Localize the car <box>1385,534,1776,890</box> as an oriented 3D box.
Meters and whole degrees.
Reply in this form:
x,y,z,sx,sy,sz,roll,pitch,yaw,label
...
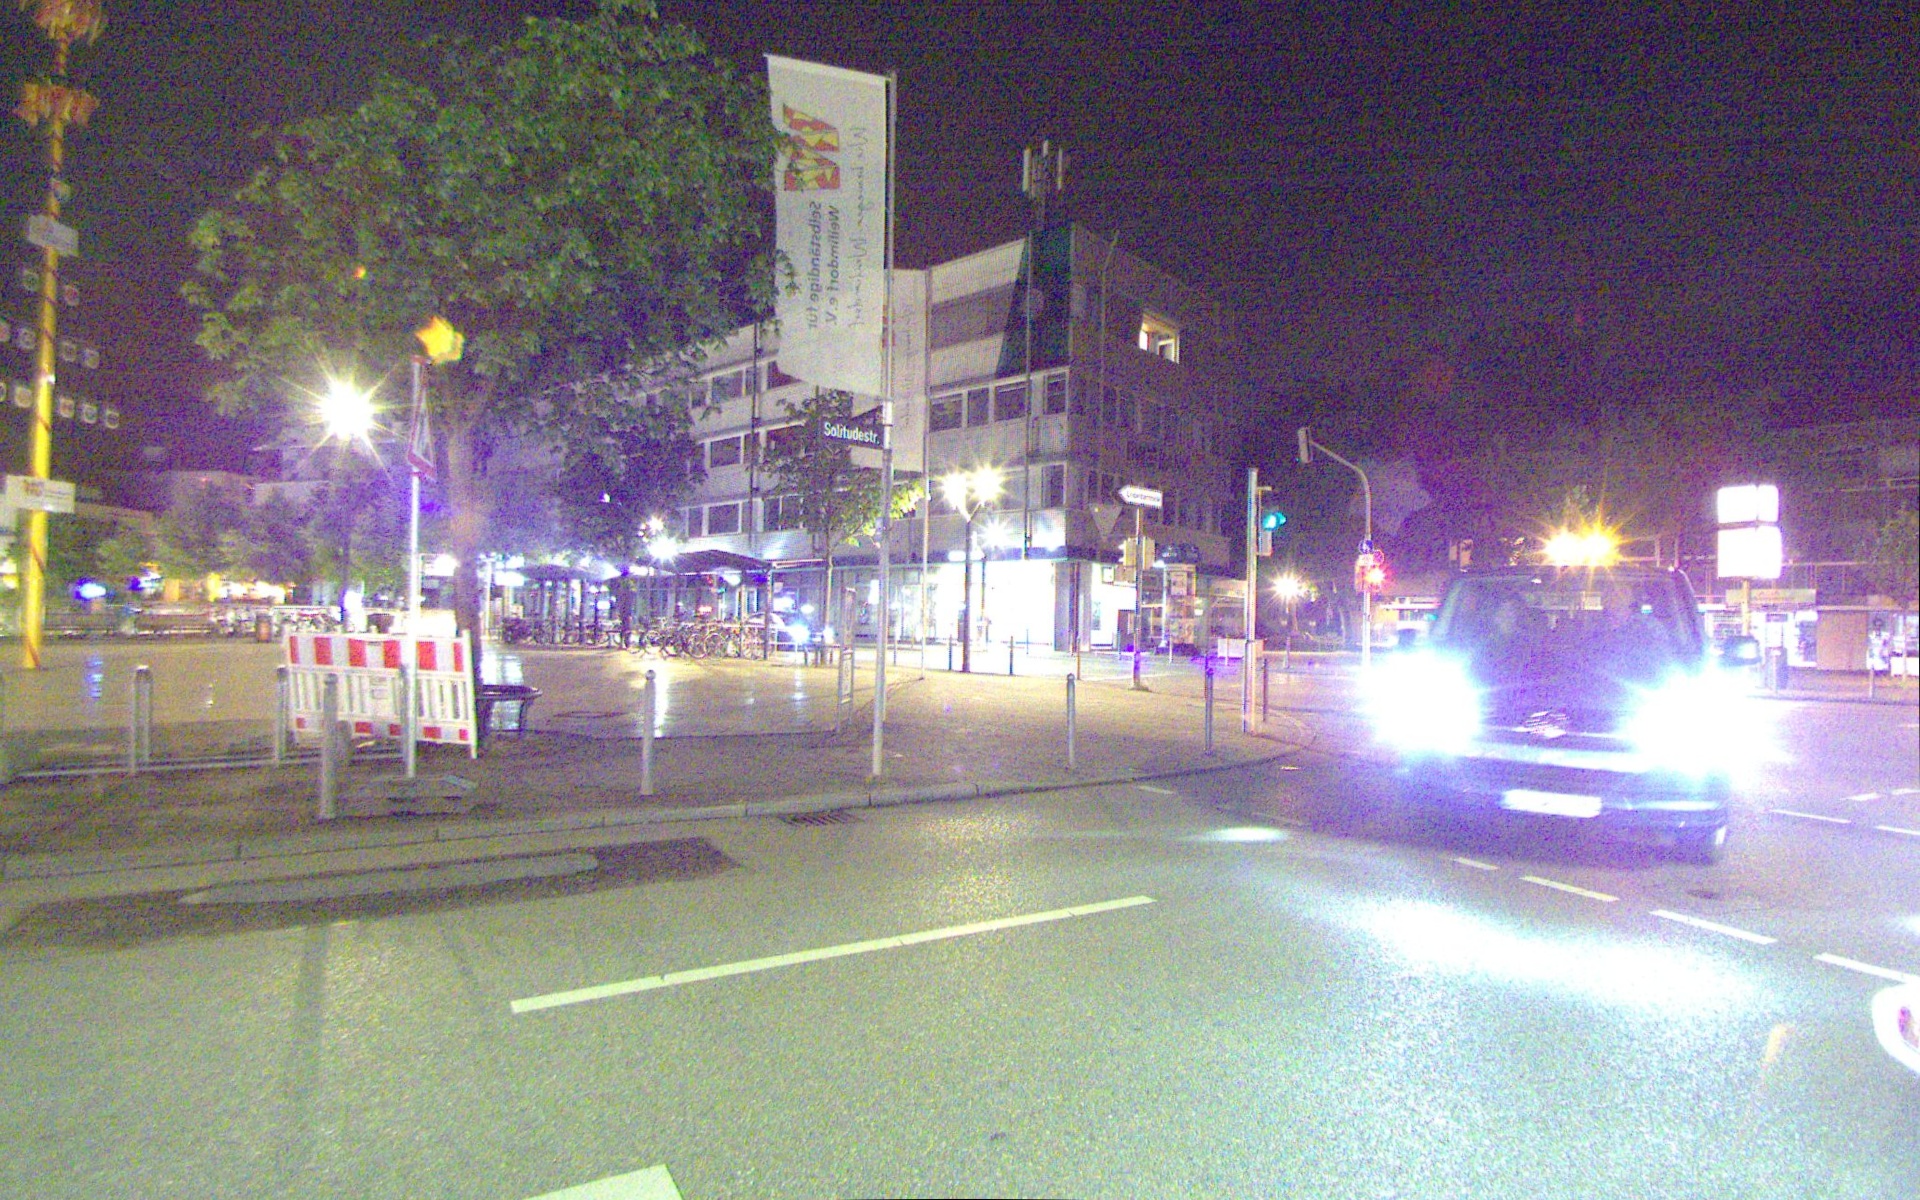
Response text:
x,y,z,sx,sy,sz,roll,pitch,yaw,label
4.823,0.667,7.963,1.939,1.896,4.901,0,-2,32,car

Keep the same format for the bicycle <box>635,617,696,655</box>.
x,y,z,sx,sy,sz,roll,pitch,yaw,label
-7.858,0.955,26.820,0.473,0.970,1.525,2,0,43,bicycle

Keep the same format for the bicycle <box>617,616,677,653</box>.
x,y,z,sx,sy,sz,roll,pitch,yaw,label
-8.538,0.937,27.420,0.473,0.970,1.525,2,0,43,bicycle

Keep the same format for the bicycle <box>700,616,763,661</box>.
x,y,z,sx,sy,sz,roll,pitch,yaw,label
-5.658,0.944,24.922,0.440,1.068,1.525,2,0,43,bicycle

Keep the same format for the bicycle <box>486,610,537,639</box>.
x,y,z,sx,sy,sz,roll,pitch,yaw,label
-15.568,0.851,34.897,0.473,0.970,1.525,2,0,43,bicycle

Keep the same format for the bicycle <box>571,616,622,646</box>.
x,y,z,sx,sy,sz,roll,pitch,yaw,label
-11.967,1.021,33.090,0.473,0.970,1.525,2,0,43,bicycle

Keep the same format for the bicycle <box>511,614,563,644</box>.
x,y,z,sx,sy,sz,roll,pitch,yaw,label
-14.192,0.982,33.735,0.473,0.970,1.525,2,0,43,bicycle

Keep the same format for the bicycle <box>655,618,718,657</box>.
x,y,z,sx,sy,sz,roll,pitch,yaw,label
-7.107,0.972,26.132,0.473,0.970,1.525,2,0,43,bicycle

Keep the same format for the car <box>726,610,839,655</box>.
x,y,z,sx,sy,sz,roll,pitch,yaw,label
-6.690,1.192,37.728,4.250,1.473,1.871,2,0,40,car

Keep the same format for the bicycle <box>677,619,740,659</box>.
x,y,z,sx,sy,sz,roll,pitch,yaw,label
-6.367,0.978,25.497,0.440,0.970,1.525,2,0,43,bicycle

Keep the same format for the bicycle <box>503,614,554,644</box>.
x,y,z,sx,sy,sz,roll,pitch,yaw,label
-14.740,0.993,34.329,0.473,0.970,1.525,2,0,43,bicycle

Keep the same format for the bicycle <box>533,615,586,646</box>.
x,y,z,sx,sy,sz,roll,pitch,yaw,label
-13.173,0.995,33.055,0.473,0.970,1.525,2,0,43,bicycle
